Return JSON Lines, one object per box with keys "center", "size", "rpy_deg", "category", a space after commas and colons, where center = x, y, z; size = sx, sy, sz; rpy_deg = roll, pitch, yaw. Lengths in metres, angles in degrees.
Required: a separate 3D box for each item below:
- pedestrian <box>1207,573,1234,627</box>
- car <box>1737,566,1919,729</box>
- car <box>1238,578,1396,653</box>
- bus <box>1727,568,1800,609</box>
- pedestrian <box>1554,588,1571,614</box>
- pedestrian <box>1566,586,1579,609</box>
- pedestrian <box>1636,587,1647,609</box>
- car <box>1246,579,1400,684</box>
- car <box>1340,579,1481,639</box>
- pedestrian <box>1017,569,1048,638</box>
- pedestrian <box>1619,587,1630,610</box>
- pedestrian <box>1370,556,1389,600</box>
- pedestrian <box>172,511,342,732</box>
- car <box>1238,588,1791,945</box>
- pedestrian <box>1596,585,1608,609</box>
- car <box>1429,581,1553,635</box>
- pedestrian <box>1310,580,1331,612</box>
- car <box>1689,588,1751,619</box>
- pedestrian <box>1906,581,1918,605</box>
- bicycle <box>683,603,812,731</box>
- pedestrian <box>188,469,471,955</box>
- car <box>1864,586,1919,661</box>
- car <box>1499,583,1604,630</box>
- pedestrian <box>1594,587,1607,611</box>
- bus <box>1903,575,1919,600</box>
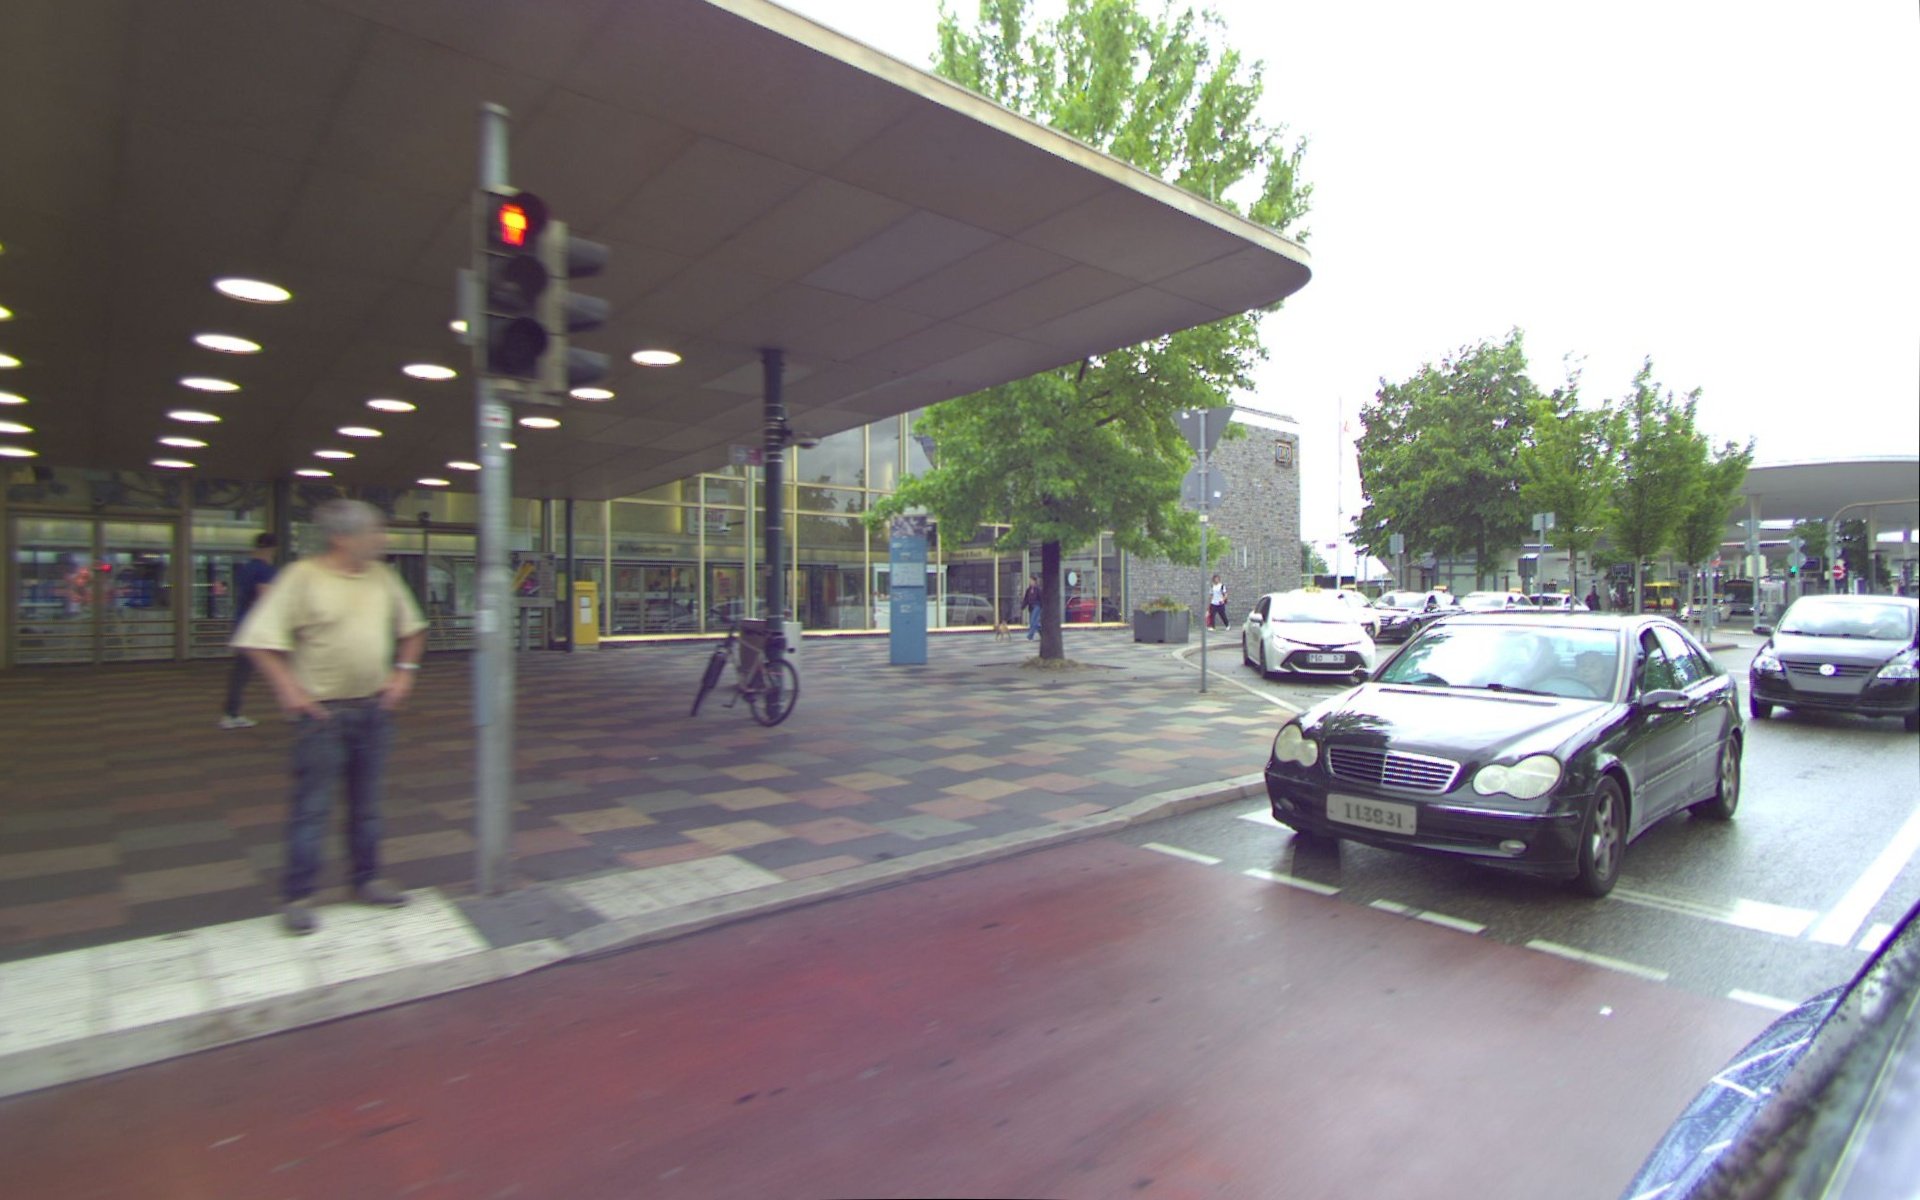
{"center": [8.198, -0.006, 31.872], "size": [0.640, 1.688, 0.770], "rpy_deg": [1, 1, 27], "category": "pedestrian"}
{"center": [11.463, 0.484, 12.776], "size": [4.086, 1.722, 1.874], "rpy_deg": [-1, 3, -42], "category": "car"}
{"center": [8.937, 0.313, 25.078], "size": [1.992, 1.619, 4.884], "rpy_deg": [3, 2, 41], "category": "car"}
{"center": [70.077, -0.949, 88.143], "size": [11.712, 3.120, 2.875], "rpy_deg": [2, 1, -41], "category": "bus"}
{"center": [39.512, 0.061, 66.369], "size": [0.725, 1.614, 0.643], "rpy_deg": [0, 2, -27], "category": "pedestrian"}
{"center": [41.134, -0.192, 67.929], "size": [0.469, 1.533, 0.536], "rpy_deg": [1, 1, -6], "category": "pedestrian"}
{"center": [48.081, -0.126, 71.445], "size": [0.525, 1.533, 0.479], "rpy_deg": [0, 1, -37], "category": "pedestrian"}
{"center": [6.311, 0.434, 18.117], "size": [1.735, 1.565, 4.765], "rpy_deg": [1, 2, 9], "category": "car"}
{"center": [13.266, 0.233, 29.639], "size": [4.873, 1.619, 1.996], "rpy_deg": [0, 0, -42], "category": "car"}
{"center": [1.782, 0.071, 24.920], "size": [0.710, 1.646, 0.797], "rpy_deg": [1, 2, 5], "category": "pedestrian"}
{"center": [45.204, -0.085, 68.846], "size": [0.525, 1.533, 0.479], "rpy_deg": [0, 1, -37], "category": "pedestrian"}
{"center": [21.299, -1.126, 51.401], "size": [0.787, 2.191, 0.719], "rpy_deg": [2, 2, 18], "category": "pedestrian"}
{"center": [-6.372, 0.158, 9.181], "size": [1.169, 1.858, 0.858], "rpy_deg": [-1, 2, -41], "category": "pedestrian"}
{"center": [3.756, 0.695, 6.461], "size": [4.375, 1.483, 1.698], "rpy_deg": [-1, 3, -42], "category": "car"}
{"center": [41.914, -0.203, 66.093], "size": [0.470, 1.533, 0.535], "rpy_deg": [0, 1, -36], "category": "pedestrian"}
{"center": [17.849, 0.225, 33.903], "size": [4.871, 1.619, 1.998], "rpy_deg": [0, 2, -41], "category": "car"}
{"center": [18.408, -0.212, 51.733], "size": [0.768, 1.599, 0.700], "rpy_deg": [3, 2, 42], "category": "pedestrian"}
{"center": [44.801, 0.160, 59.615], "size": [4.463, 1.702, 1.997], "rpy_deg": [-1, 3, -41], "category": "car"}
{"center": [71.361, -0.491, 75.844], "size": [0.441, 1.786, 0.533], "rpy_deg": [1, 1, 24], "category": "pedestrian"}
{"center": [-2.132, 0.612, 9.986], "size": [0.413, 1.068, 1.831], "rpy_deg": [0, 2, -40], "category": "bicycle"}
{"center": [-2.625, 0.392, 4.232], "size": [0.745, 1.768, 0.824], "rpy_deg": [1, 2, 41], "category": "pedestrian"}
{"center": [22.146, 0.509, 23.036], "size": [3.979, 1.578, 1.810], "rpy_deg": [-1, 3, -41], "category": "car"}
{"center": [22.034, 0.191, 37.636], "size": [4.817, 1.619, 1.884], "rpy_deg": [-1, 3, -41], "category": "car"}
{"center": [41.416, -0.047, 65.407], "size": [0.470, 1.533, 0.535], "rpy_deg": [0, 1, -36], "category": "pedestrian"}
{"center": [125.294, -1.566, 131.322], "size": [3.569, 3.137, 10.599], "rpy_deg": [2, 1, 40], "category": "bus"}
